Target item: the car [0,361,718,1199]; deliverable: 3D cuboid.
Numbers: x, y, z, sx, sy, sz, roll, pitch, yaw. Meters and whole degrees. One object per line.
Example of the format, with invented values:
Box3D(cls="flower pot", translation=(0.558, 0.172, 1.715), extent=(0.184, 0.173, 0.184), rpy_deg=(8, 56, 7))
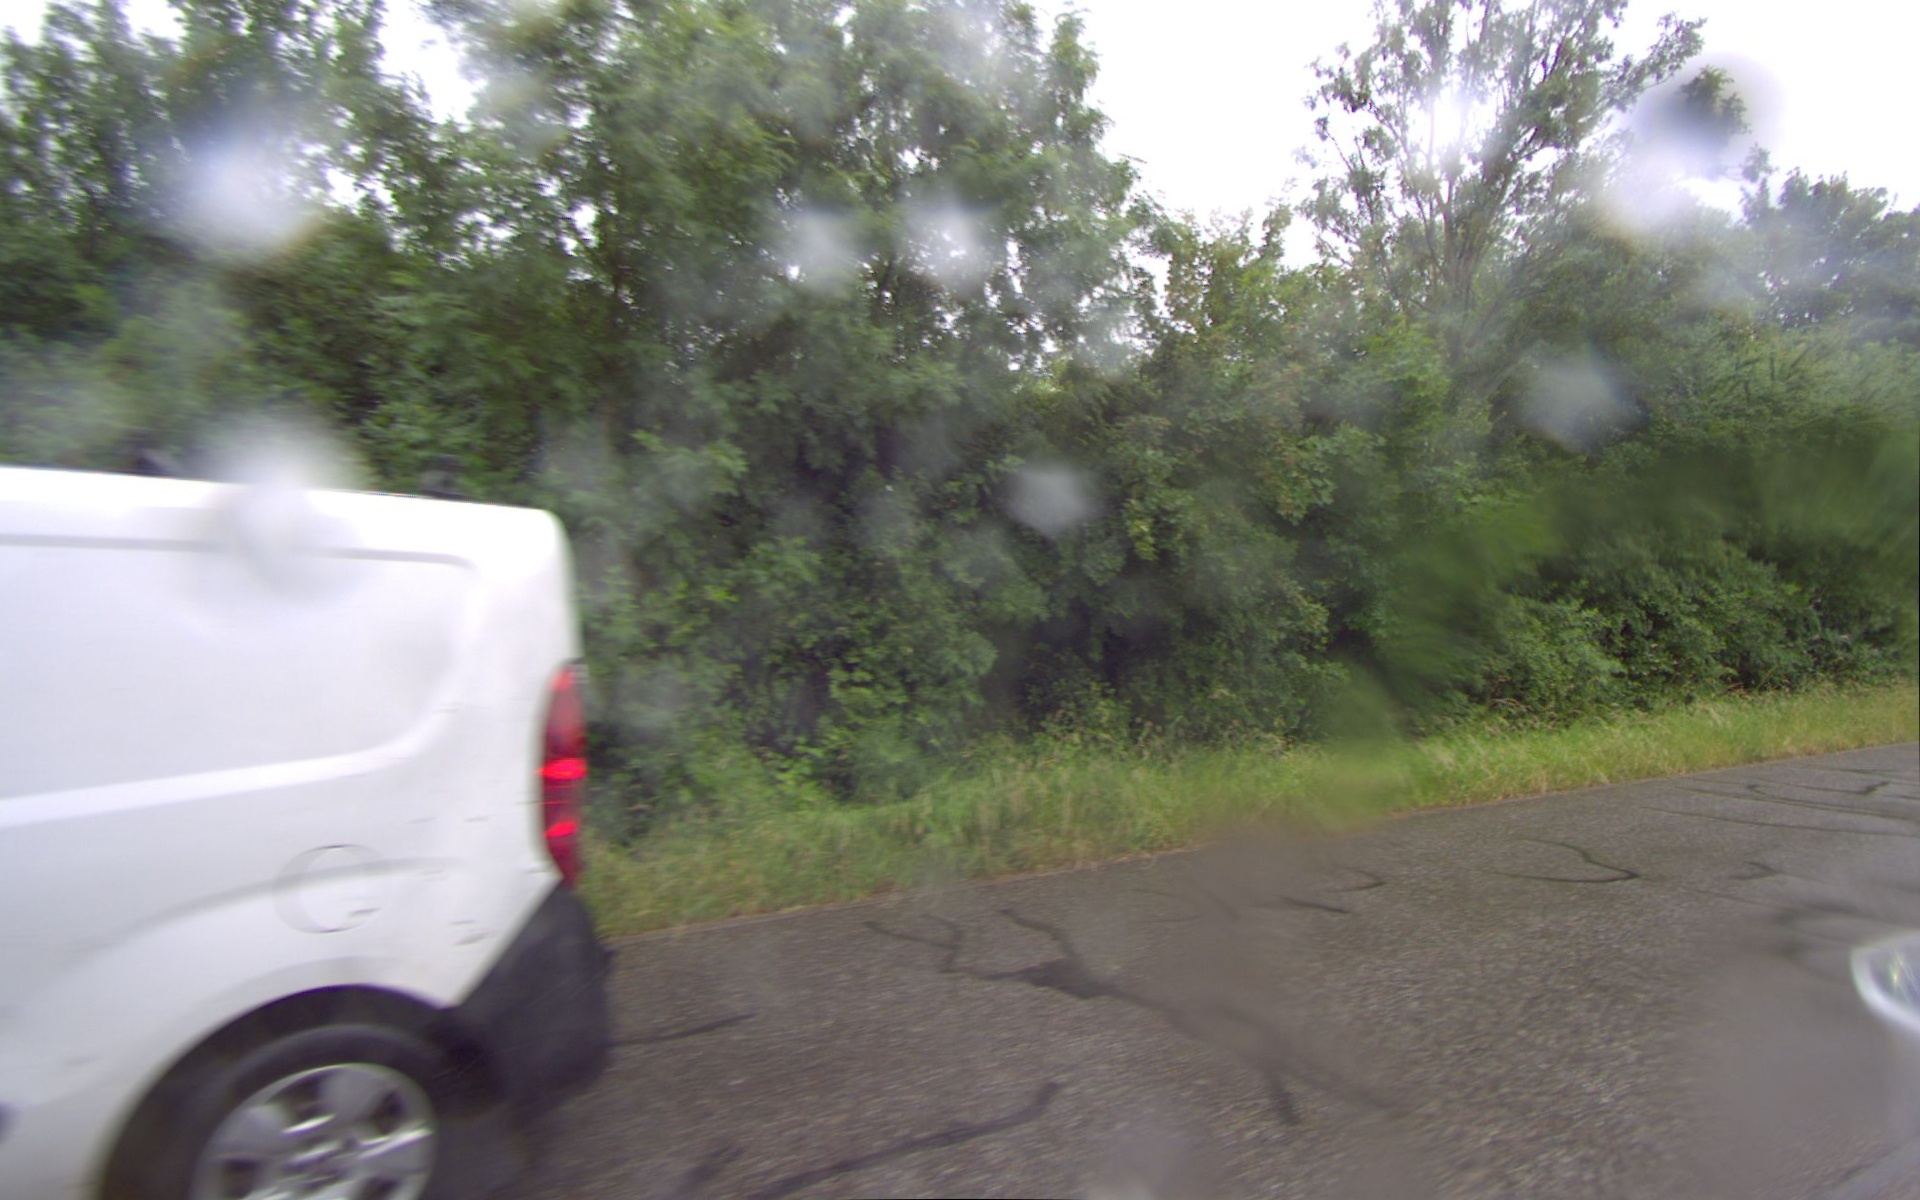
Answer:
Box3D(cls="car", translation=(-2.885, 0.487, 2.098), extent=(4.262, 1.856, 1.812), rpy_deg=(2, -1, -34))
